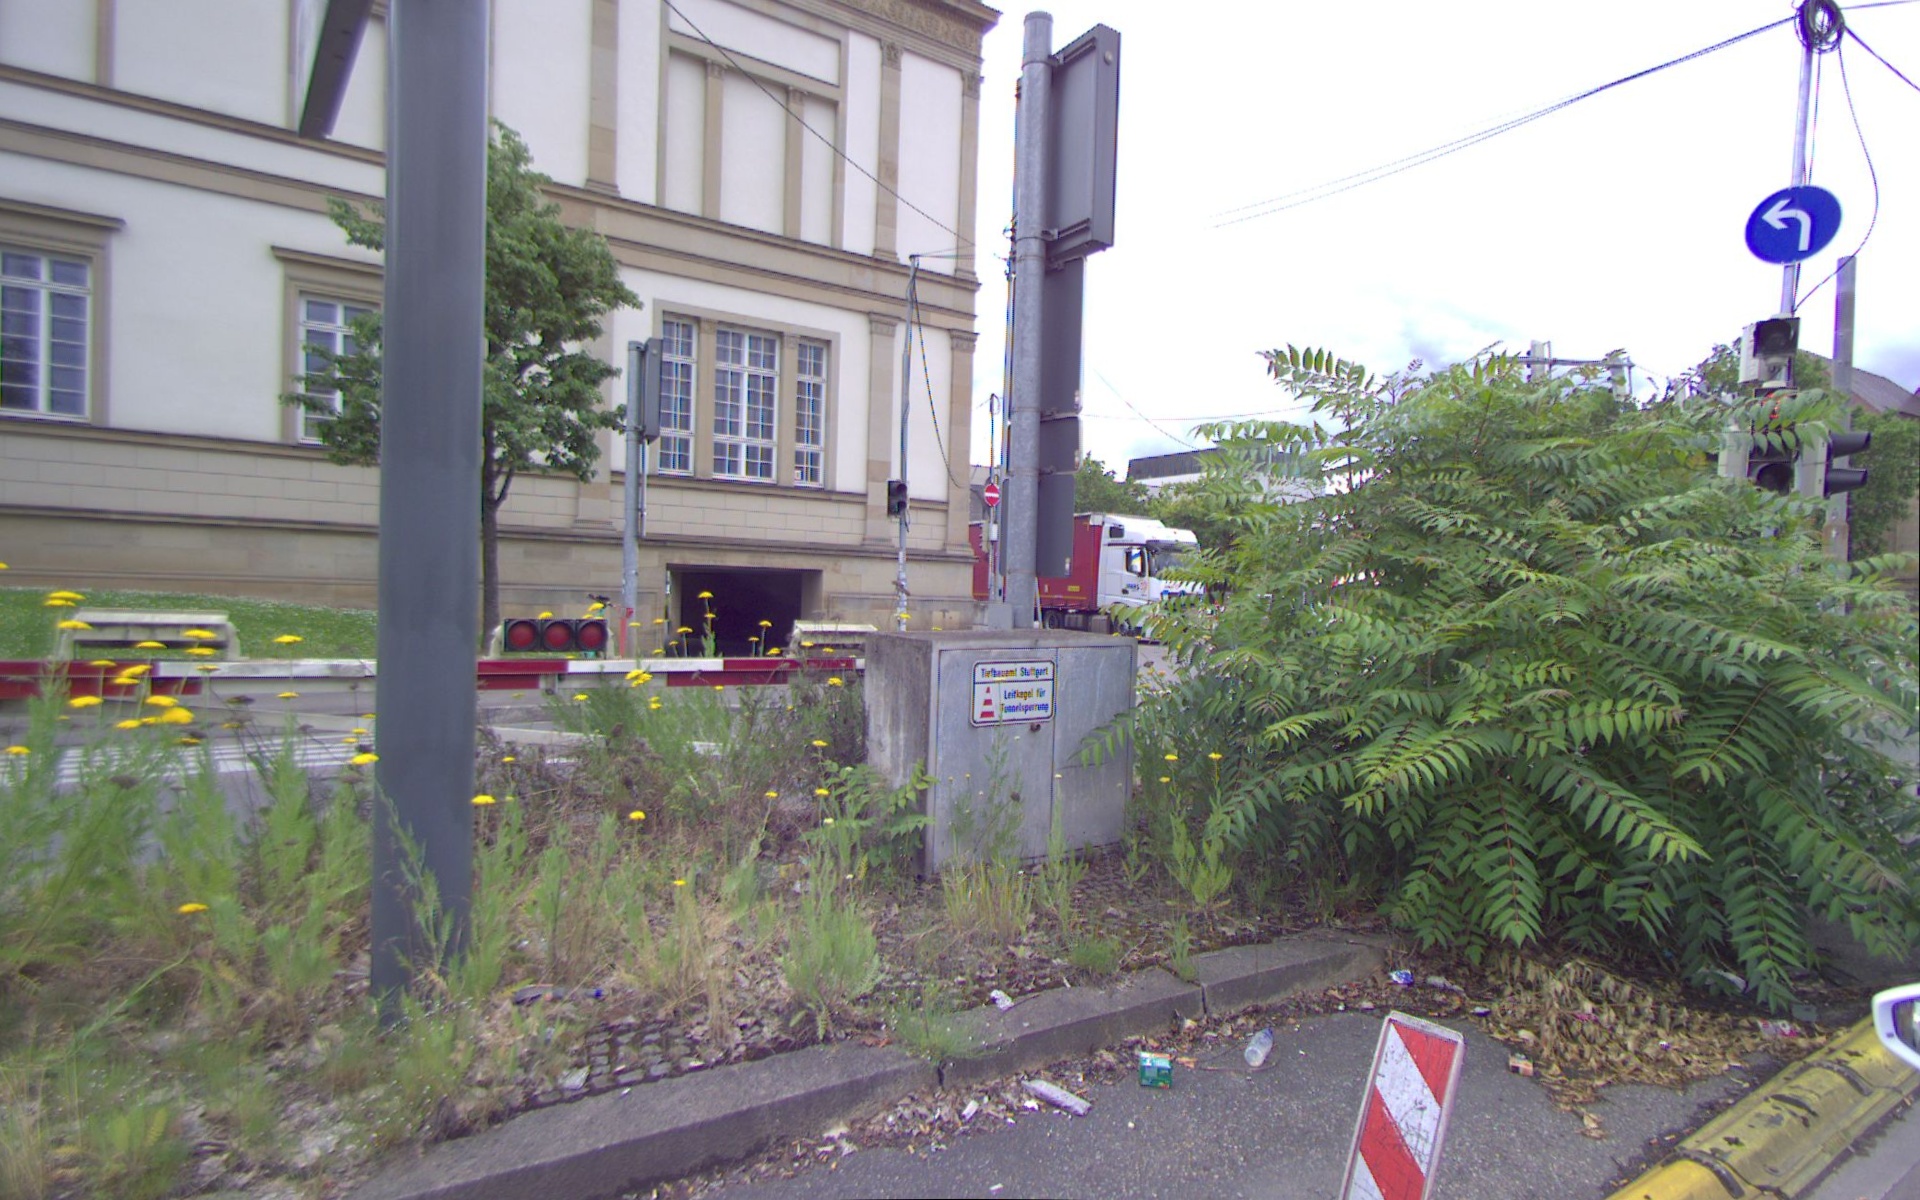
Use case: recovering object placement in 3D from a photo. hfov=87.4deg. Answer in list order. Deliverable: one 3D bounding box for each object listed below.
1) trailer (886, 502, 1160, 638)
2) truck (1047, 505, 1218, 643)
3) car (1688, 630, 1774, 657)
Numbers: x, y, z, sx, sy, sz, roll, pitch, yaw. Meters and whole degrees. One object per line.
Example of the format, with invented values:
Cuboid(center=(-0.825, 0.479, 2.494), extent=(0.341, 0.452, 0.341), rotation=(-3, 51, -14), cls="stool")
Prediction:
Cuboid(center=(1.766, -1.009, 38.723), extent=(2.916, 4.338, 13.662), rotation=(2, 0, -33), cls="trailer")
Cuboid(center=(5.554, -0.768, 32.846), extent=(2.915, 4.118, 4.846), rotation=(2, 0, -34), cls="truck")
Cuboid(center=(45.472, 2.537, 59.310), extent=(3.609, 1.417, 1.682), rotation=(2, 0, 17), cls="car")
